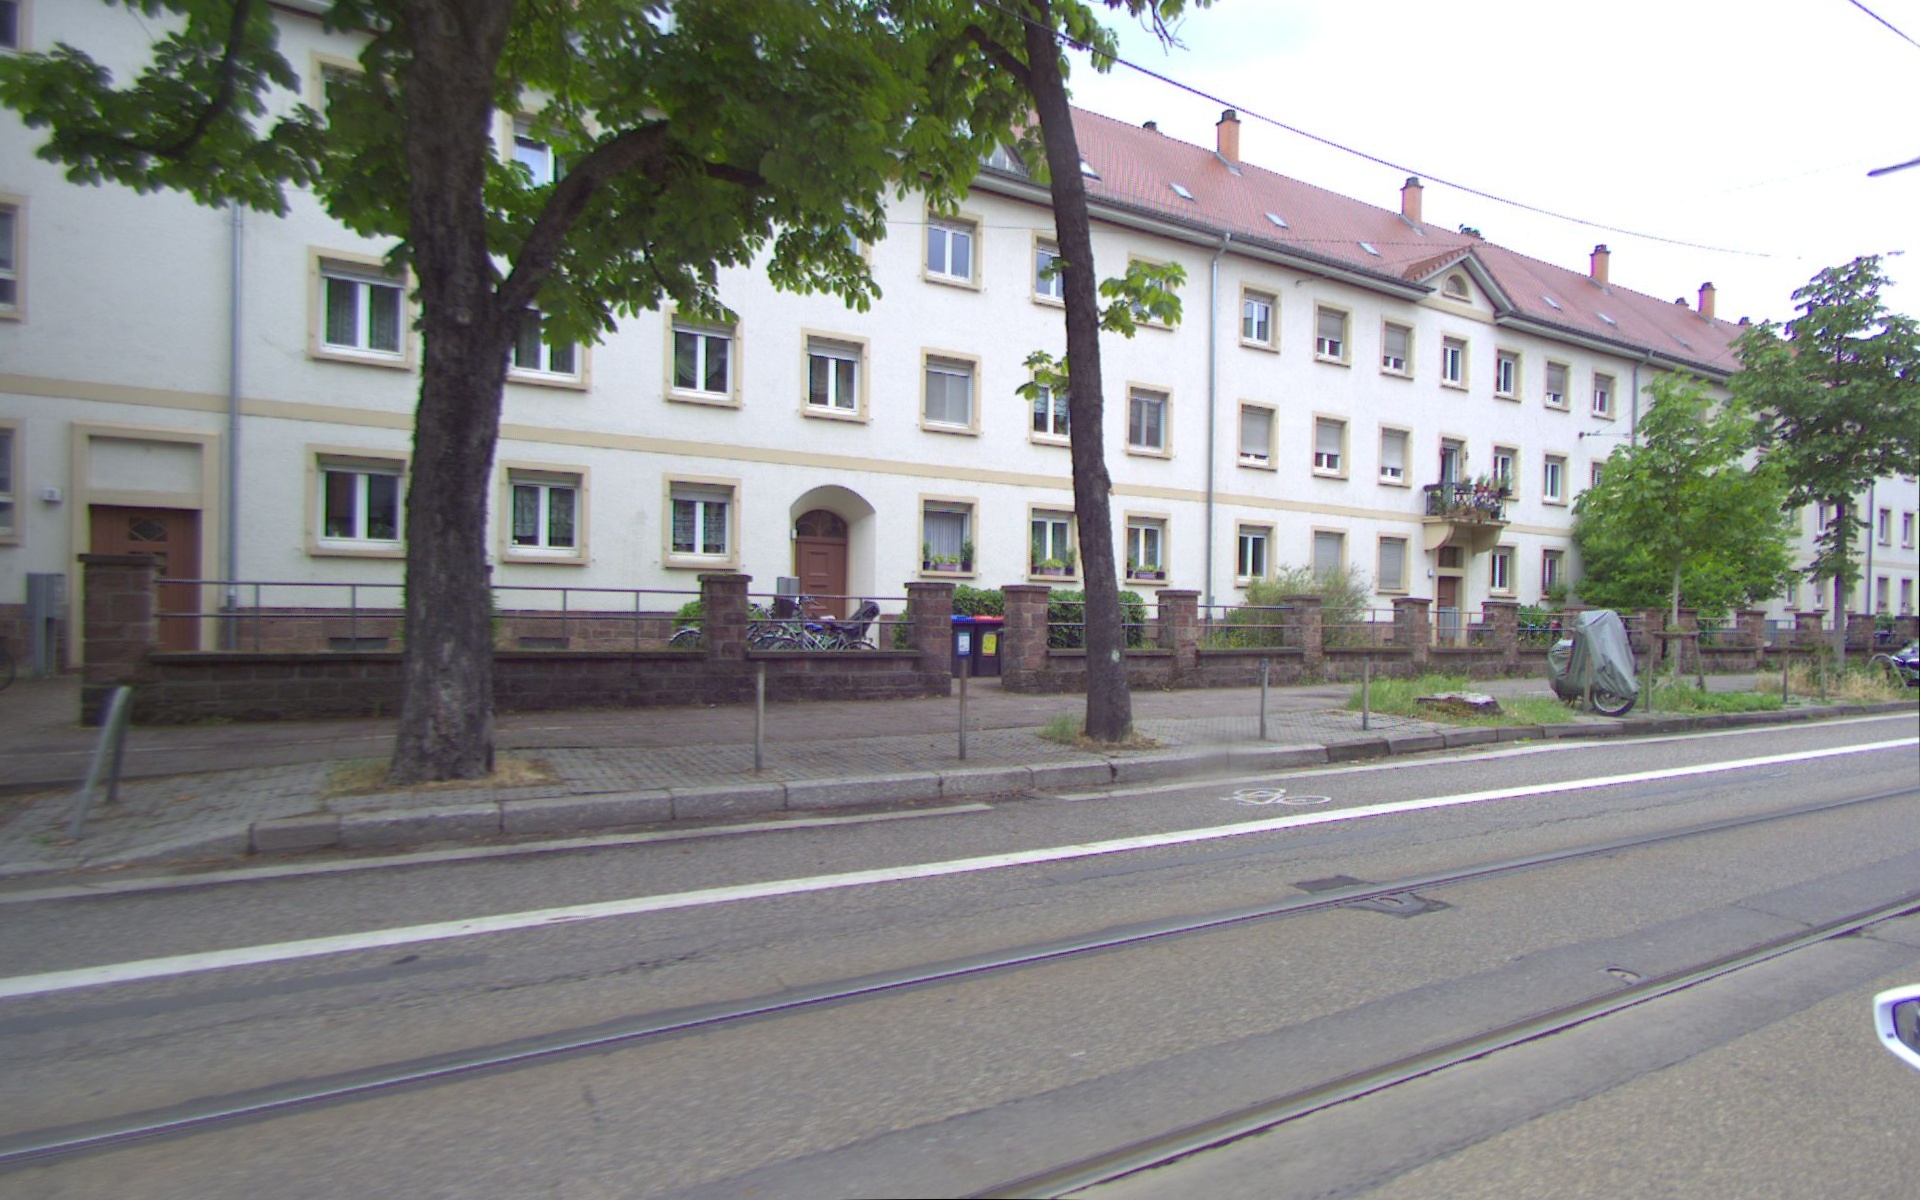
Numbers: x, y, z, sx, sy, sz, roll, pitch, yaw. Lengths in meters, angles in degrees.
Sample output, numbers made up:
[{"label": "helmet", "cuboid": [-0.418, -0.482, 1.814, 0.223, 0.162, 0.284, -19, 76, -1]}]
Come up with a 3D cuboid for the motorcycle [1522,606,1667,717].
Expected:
[{"label": "motorcycle", "cuboid": [9.724, 0.888, 15.527, 0.908, 1.531, 2.273, 3, 0, 6]}]

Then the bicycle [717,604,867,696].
[{"label": "bicycle", "cuboid": [-2.539, 0.737, 15.253, 2.116, 1.315, 0.744, 1, 0, -31]}]

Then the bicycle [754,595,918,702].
[{"label": "bicycle", "cuboid": [-1.713, 0.651, 13.960, 2.115, 1.400, 0.789, 1, 0, -30]}]

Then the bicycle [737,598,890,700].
[{"label": "bicycle", "cuboid": [-2.116, 0.687, 14.616, 2.115, 1.400, 0.625, 1, 0, -30]}]

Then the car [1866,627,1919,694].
[{"label": "car", "cuboid": [22.805, 1.375, 22.894, 4.362, 1.417, 1.882, 1, 0, -29]}]
